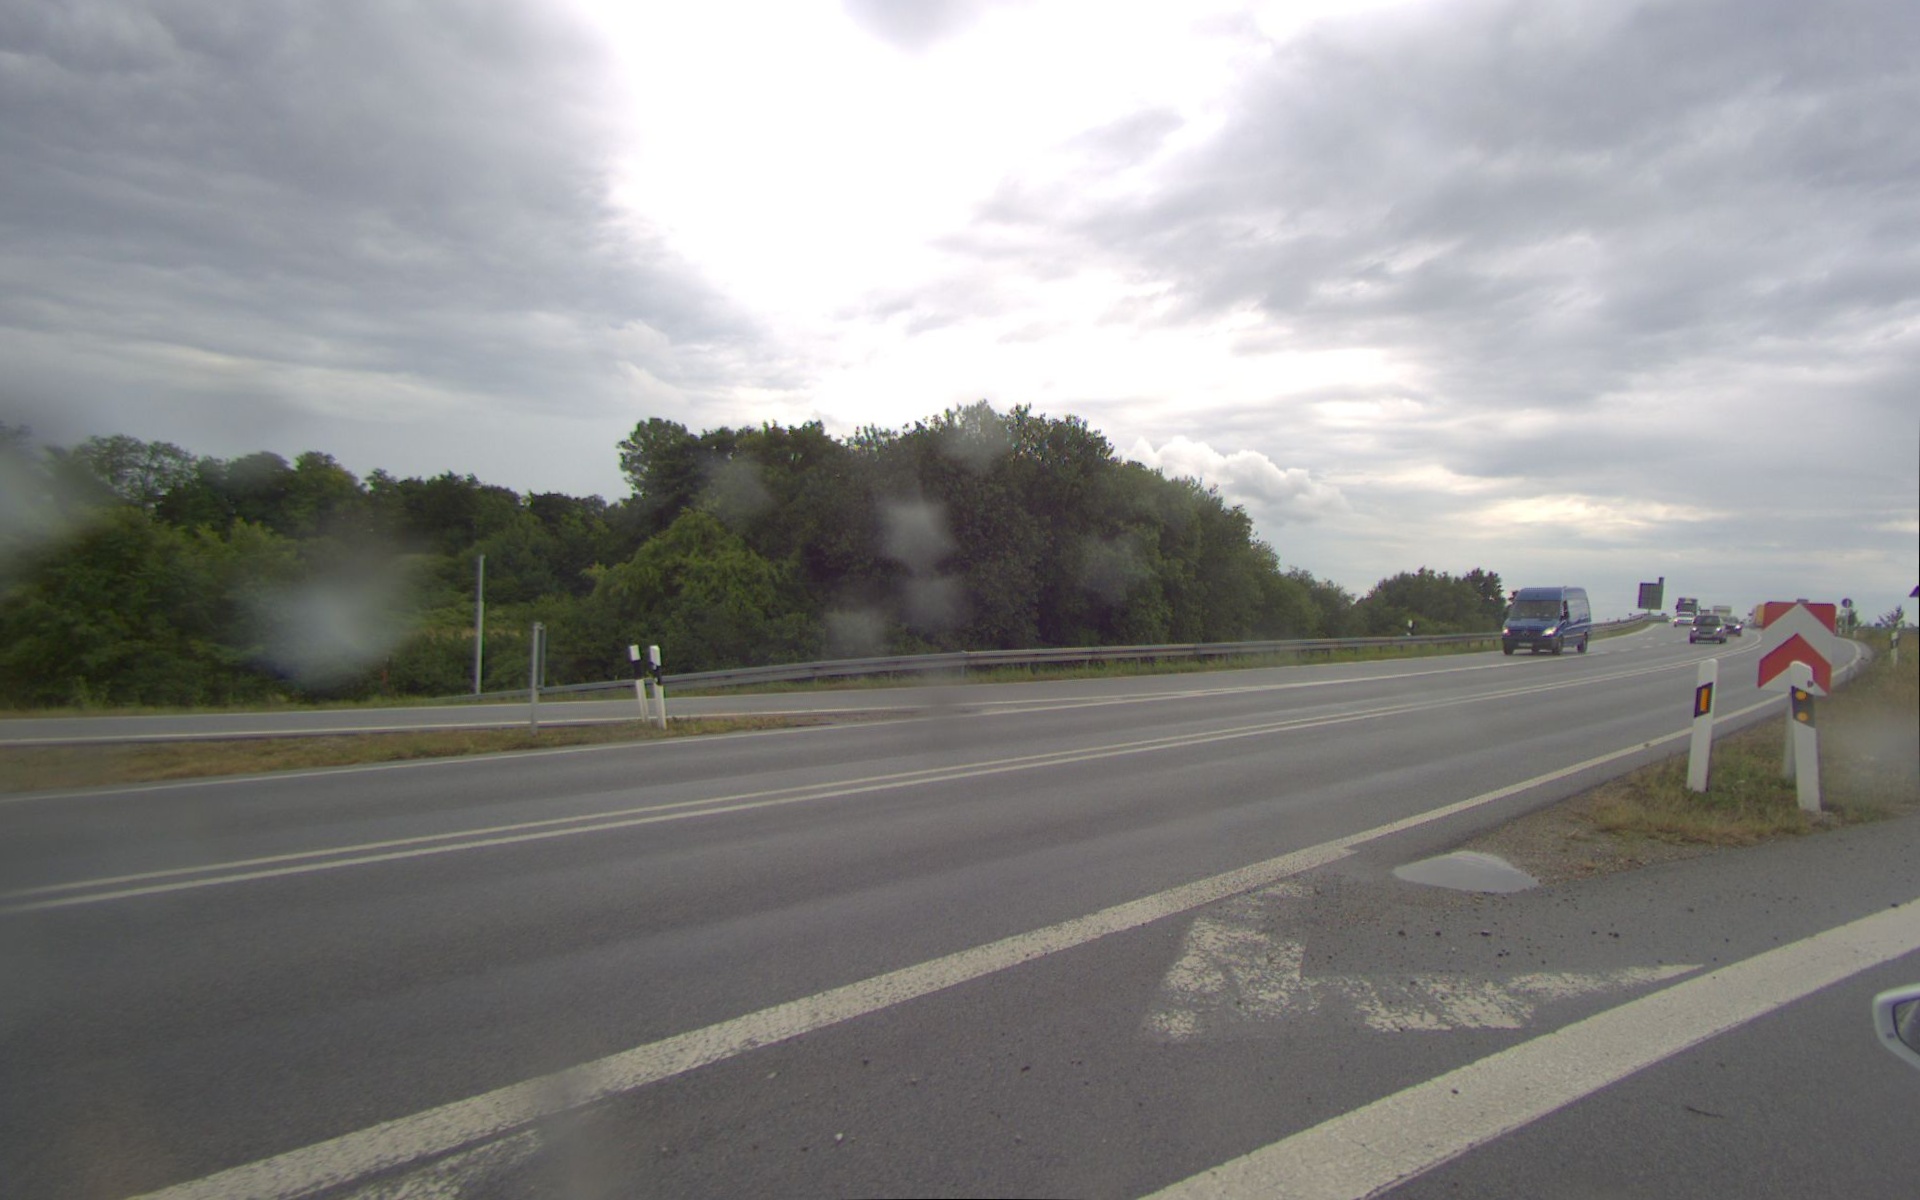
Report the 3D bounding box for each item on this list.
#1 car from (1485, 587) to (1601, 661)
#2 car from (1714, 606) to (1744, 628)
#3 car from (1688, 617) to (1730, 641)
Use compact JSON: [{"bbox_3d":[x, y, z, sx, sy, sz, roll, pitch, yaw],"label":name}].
[{"bbox_3d":[23.528,0.971,40.397,6.239,2.762,2.304,2,0,-43],"label":"car"},{"bbox_3d":[50.401,1.093,65.903,1.456,1.368,3.700,4,2,37],"label":"car"},{"bbox_3d":[41.105,1.579,55.095,1.416,1.192,3.114,4,2,45],"label":"car"}]
